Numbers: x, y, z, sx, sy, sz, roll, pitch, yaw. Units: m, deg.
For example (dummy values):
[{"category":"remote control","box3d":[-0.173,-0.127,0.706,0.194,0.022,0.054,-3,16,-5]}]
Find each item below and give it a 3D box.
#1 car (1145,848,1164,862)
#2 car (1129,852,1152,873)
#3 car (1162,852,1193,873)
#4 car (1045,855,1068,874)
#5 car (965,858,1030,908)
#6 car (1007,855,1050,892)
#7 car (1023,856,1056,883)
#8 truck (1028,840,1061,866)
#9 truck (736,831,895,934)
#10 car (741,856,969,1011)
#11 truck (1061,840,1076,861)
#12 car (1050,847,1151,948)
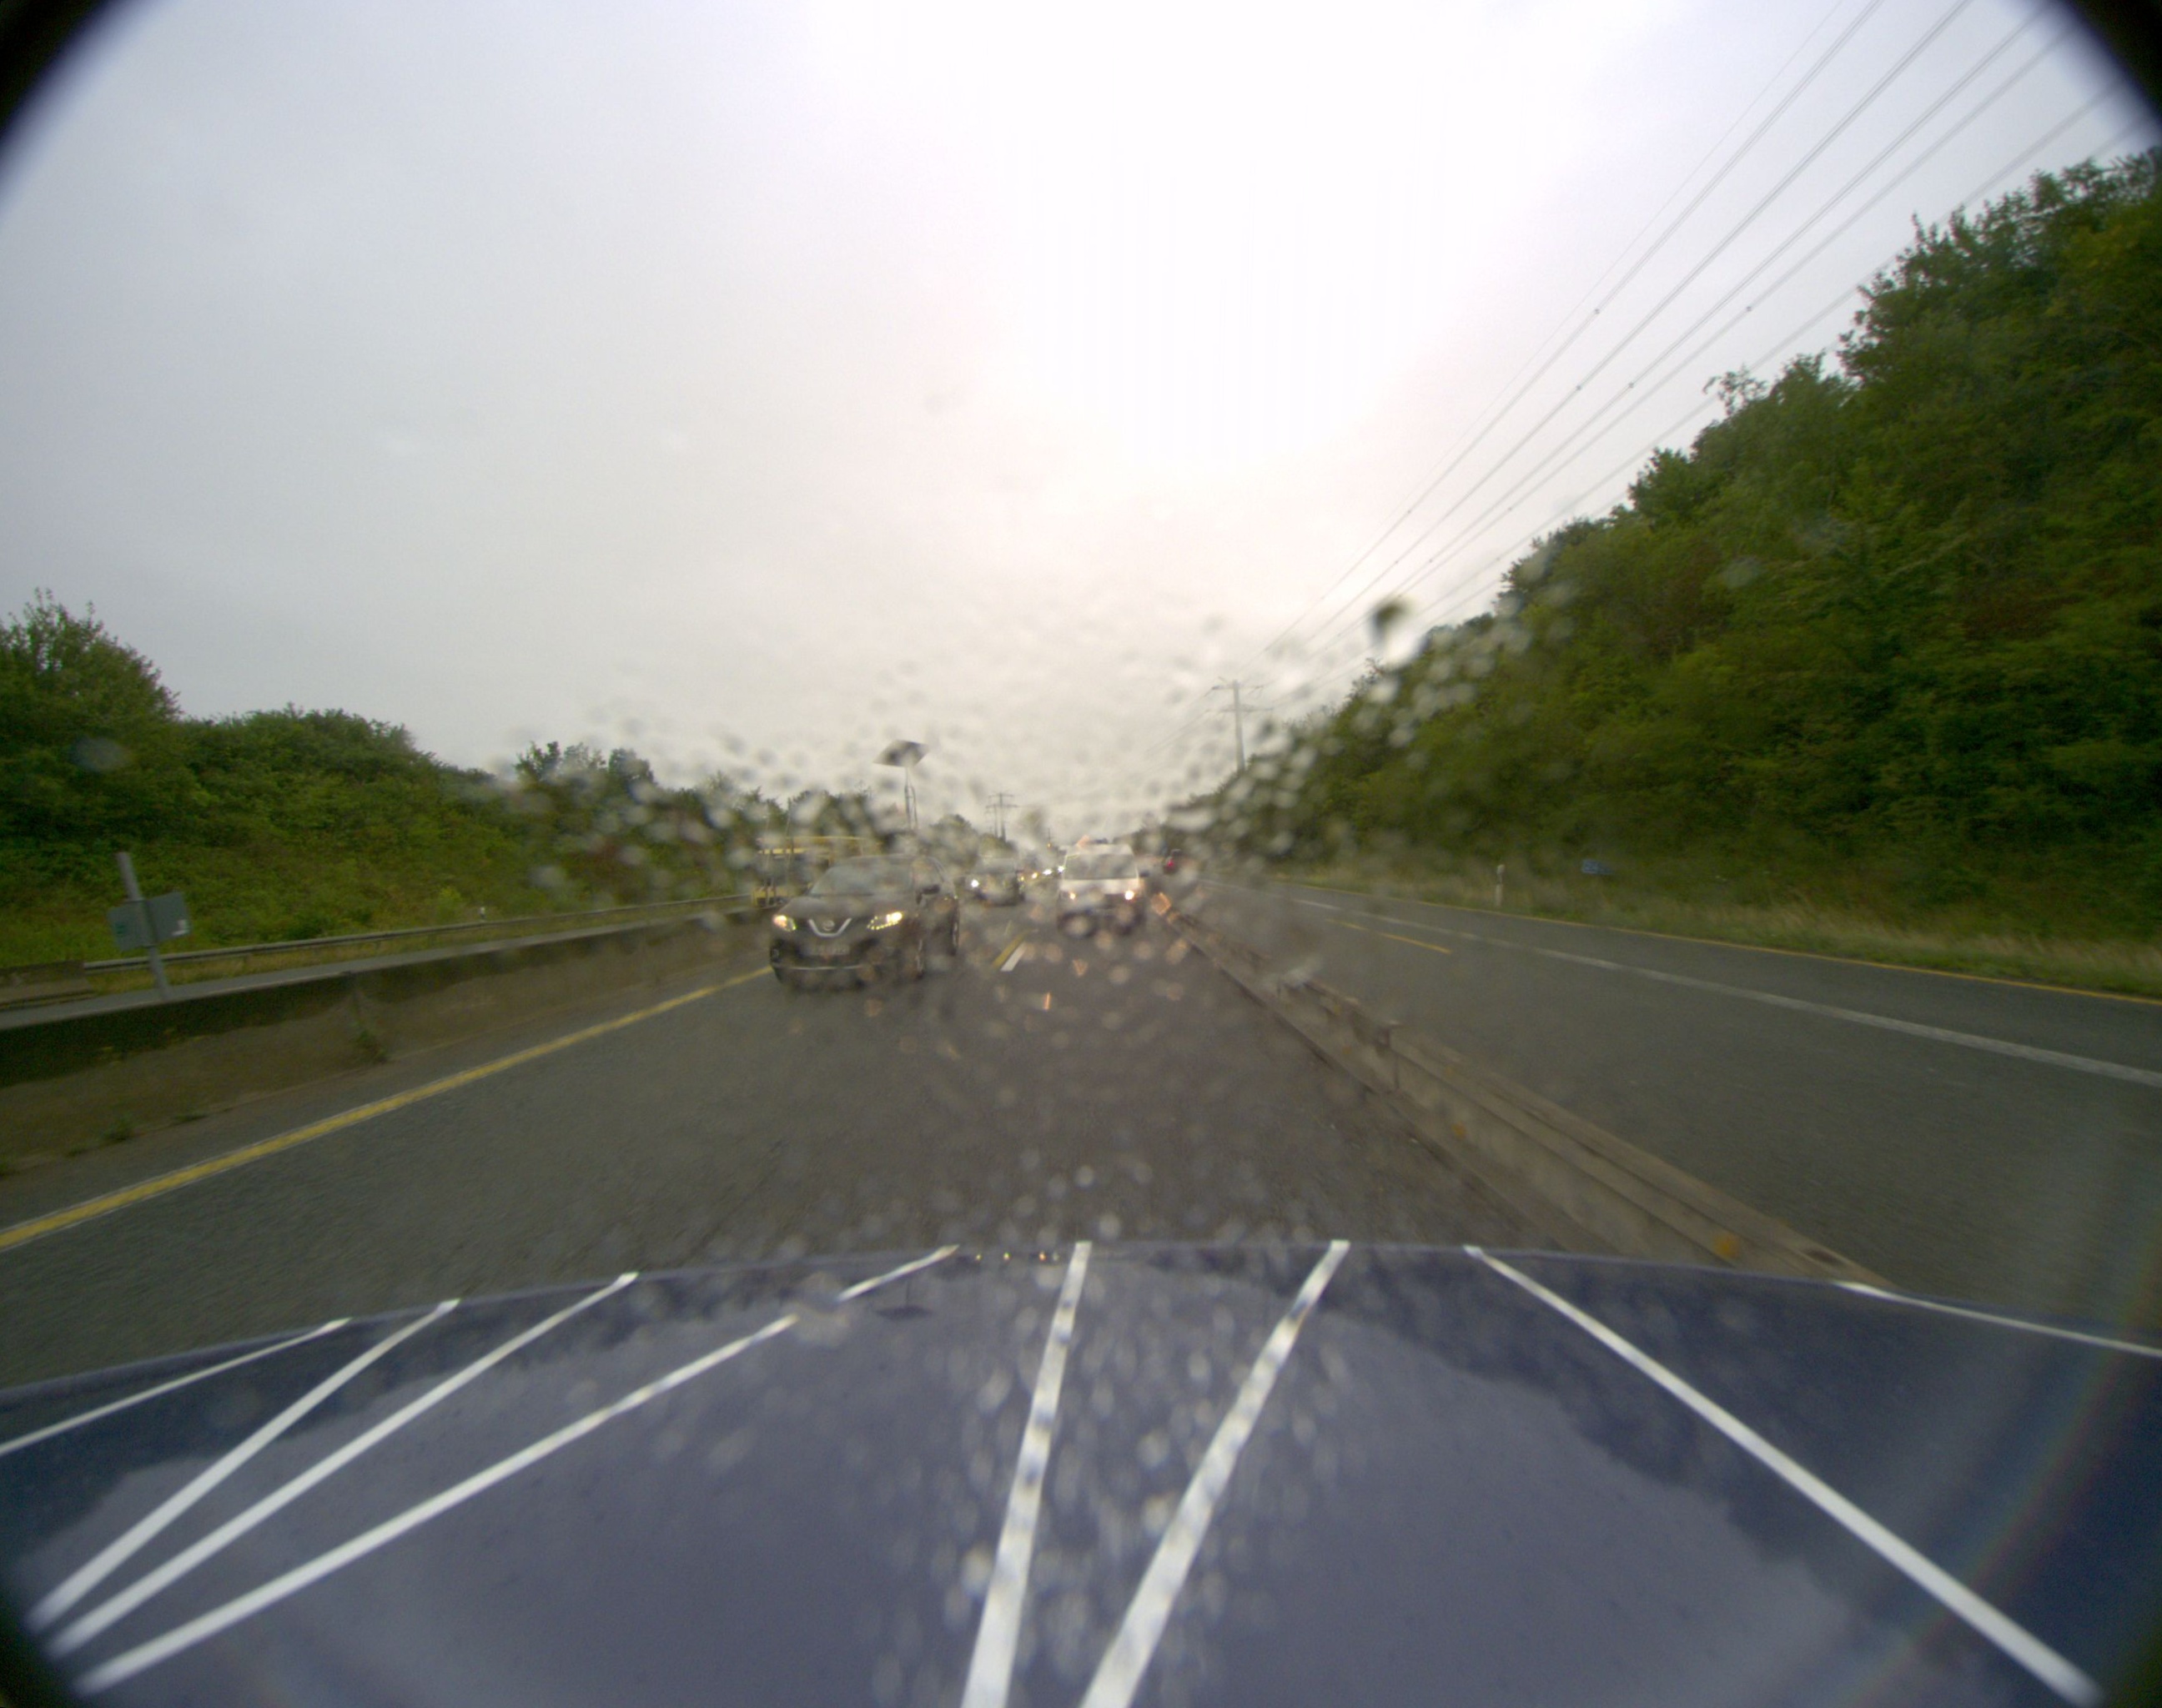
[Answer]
[{"category":"car","box3d":[9.040,0.151,93.807,1.875,1.593,4.000,-2,1,1]},{"category":"car","box3d":[5.074,0.734,65.232,1.766,1.674,4.000,-2,1,2]},{"category":"car","box3d":[7.534,0.633,59.837,1.778,1.442,4.448,-2,1,-1]},{"category":"car","box3d":[-2.084,0.871,65.460,1.784,1.482,4.123,-2,1,0]},{"category":"car","box3d":[-2.853,0.954,26.704,1.784,1.482,4.123,-2,1,0]},{"category":"car","box3d":[-2.479,0.902,36.931,1.784,1.589,4.123,-2,1,0]},{"category":"car","box3d":[-2.498,0.890,46.823,1.784,1.482,4.123,-2,1,0]},{"category":"truck","box3d":[-5.080,-0.155,104.627,2.622,3.404,9.563,-2,1,-14]},{"category":"truck","box3d":[-10.136,0.916,30.449,2.619,3.404,9.575,-2,1,2]},{"category":"car","box3d":[-2.951,0.926,11.090,1.894,1.665,4.640,-2,1,0]},{"category":"truck","box3d":[-2.426,-0.697,147.557,2.619,3.868,9.574,-2,1,0]},{"category":"car","box3d":[0.349,0.774,16.174,1.784,1.775,4.697,-2,1,0]}]
